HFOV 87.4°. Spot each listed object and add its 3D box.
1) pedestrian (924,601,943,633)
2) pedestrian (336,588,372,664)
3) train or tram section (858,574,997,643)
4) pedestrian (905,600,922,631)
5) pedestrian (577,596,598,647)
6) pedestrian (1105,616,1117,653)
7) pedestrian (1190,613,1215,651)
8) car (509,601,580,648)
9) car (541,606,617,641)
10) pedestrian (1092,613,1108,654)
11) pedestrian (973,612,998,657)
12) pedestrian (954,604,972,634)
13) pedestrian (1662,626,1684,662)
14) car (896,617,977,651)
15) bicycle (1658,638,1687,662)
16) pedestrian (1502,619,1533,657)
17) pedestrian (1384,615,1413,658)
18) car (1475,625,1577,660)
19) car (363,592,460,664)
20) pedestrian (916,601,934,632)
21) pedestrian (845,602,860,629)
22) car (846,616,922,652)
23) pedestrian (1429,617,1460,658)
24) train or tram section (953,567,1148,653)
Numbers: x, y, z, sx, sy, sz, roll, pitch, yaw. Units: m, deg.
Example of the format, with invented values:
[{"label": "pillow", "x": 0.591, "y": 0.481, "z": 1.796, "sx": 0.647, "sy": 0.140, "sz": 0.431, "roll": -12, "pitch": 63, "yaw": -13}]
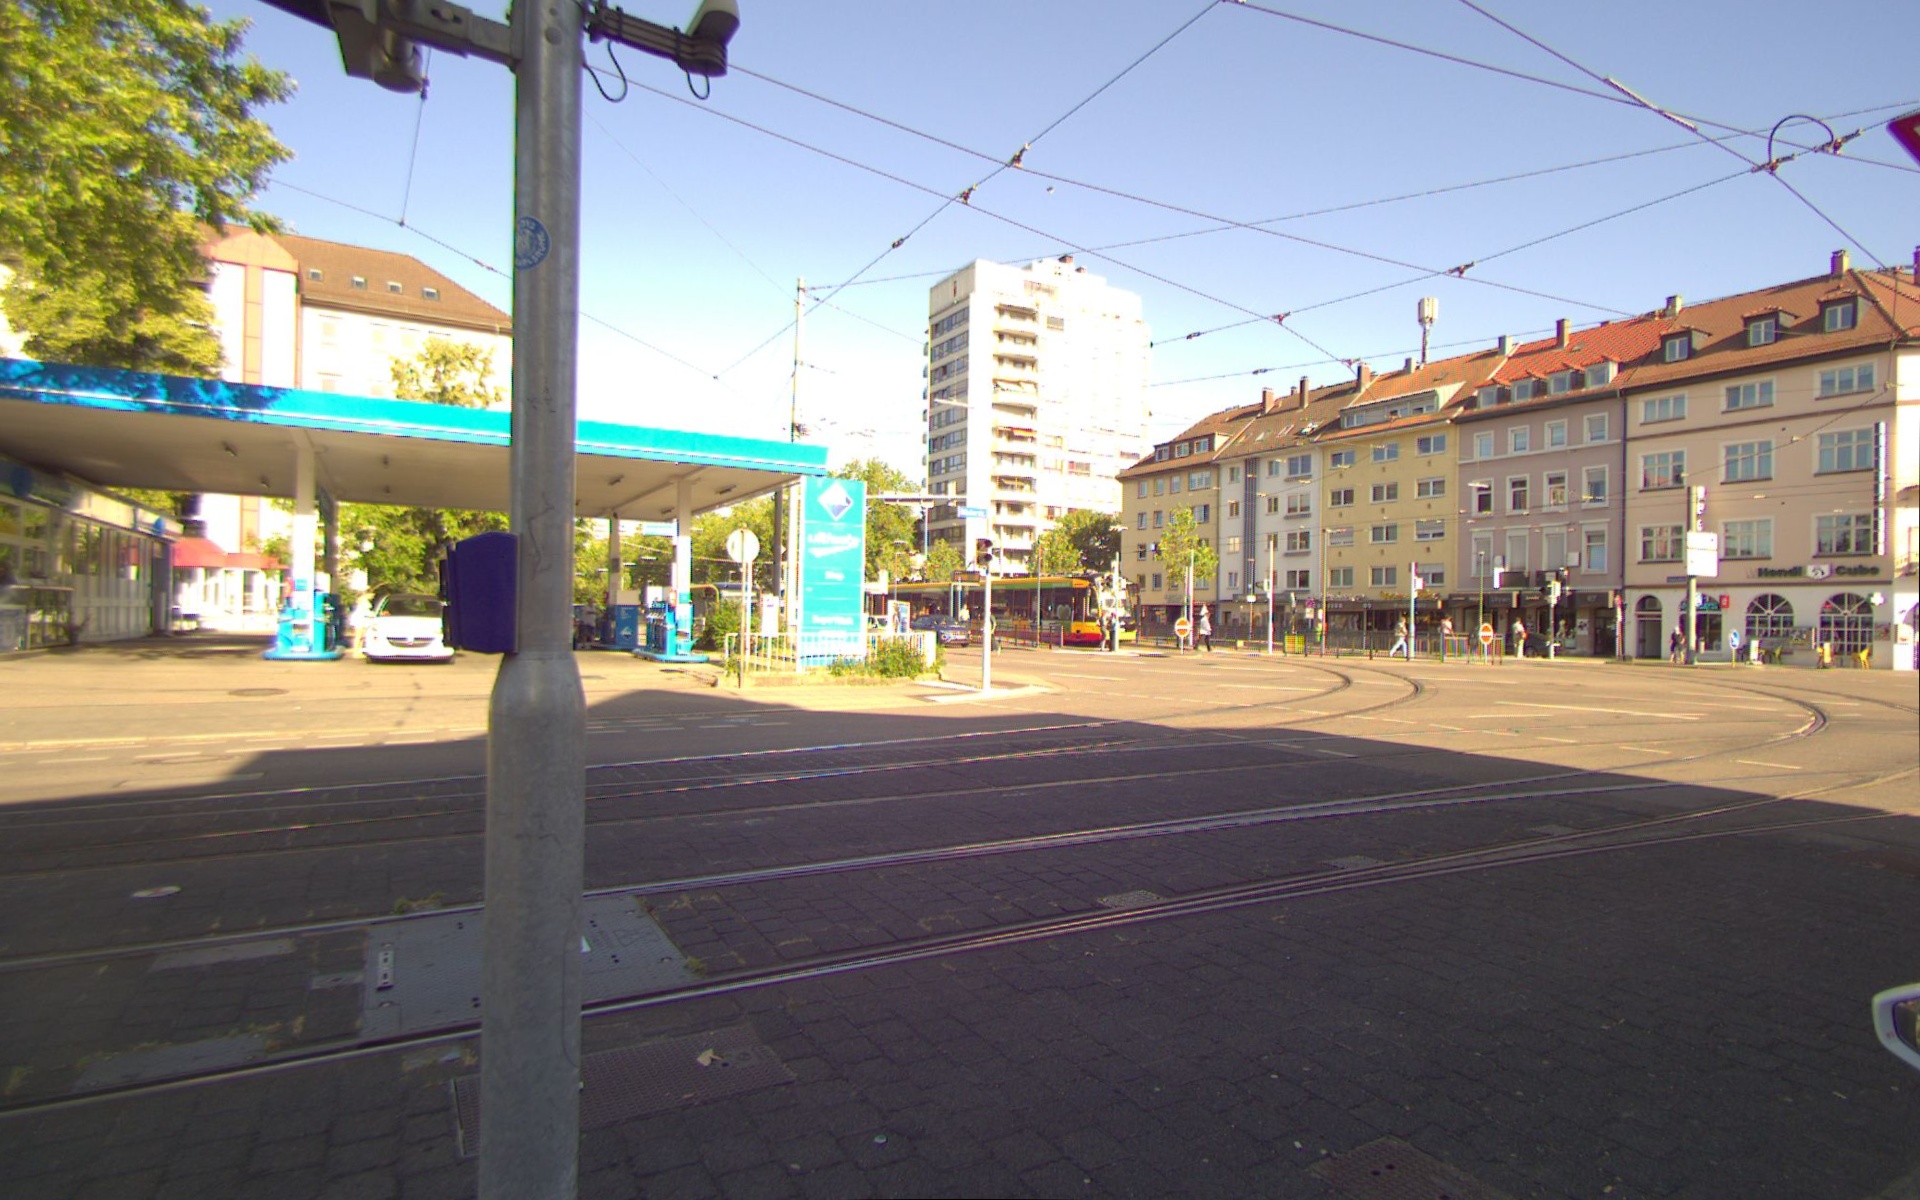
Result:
[{"label": "pedestrian", "x": -1.470, "y": 0.923, "z": 55.604, "sx": 0.747, "sy": 1.756, "sz": 0.797, "roll": 0, "pitch": 0, "yaw": -28}, {"label": "pedestrian", "x": -13.875, "y": 0.592, "z": 23.011, "sx": 0.640, "sy": 1.724, "sz": 0.497, "roll": 1, "pitch": -1, "yaw": -26}, {"label": "train or tram section", "x": -2.363, "y": 0.569, "z": 62.518, "sx": 2.908, "sy": 3.864, "sz": 12.715, "roll": 1, "pitch": -1, "yaw": -31}, {"label": "pedestrian", "x": -2.657, "y": 0.896, "z": 57.248, "sx": 0.747, "sy": 1.756, "sz": 0.797, "roll": 0, "pitch": 0, "yaw": -28}, {"label": "pedestrian", "x": -12.756, "y": 0.749, "z": 34.385, "sx": 0.493, "sy": 1.724, "sz": 0.497, "roll": 0, "pitch": -1, "yaw": 43}, {"label": "pedestrian", "x": 6.155, "y": 1.406, "z": 40.967, "sx": 0.472, "sy": 1.525, "sz": 0.462, "roll": 0, "pitch": 0, "yaw": 6}, {"label": "pedestrian", "x": 10.536, "y": 1.393, "z": 43.611, "sx": 0.867, "sy": 1.598, "sz": 0.665, "roll": 2, "pitch": 0, "yaw": -2}, {"label": "car", "x": -13.547, "y": 0.783, "z": 32.679, "sx": 1.737, "sy": 1.461, "sz": 3.543, "roll": 1, "pitch": -1, "yaw": -29}, {"label": "car", "x": -16.859, "y": 1.041, "z": 44.604, "sx": 1.722, "sy": 1.461, "sz": 3.572, "roll": 1, "pitch": -1, "yaw": 5}, {"label": "pedestrian", "x": 5.857, "y": 1.393, "z": 41.967, "sx": 0.626, "sy": 1.666, "sz": 0.462, "roll": 0, "pitch": 0, "yaw": 6}, {"label": "pedestrian", "x": 0.968, "y": 1.300, "z": 38.459, "sx": 0.752, "sy": 1.702, "sz": 0.555, "roll": 1, "pitch": -1, "yaw": -33}, {"label": "pedestrian", "x": 0.156, "y": 0.999, "z": 53.441, "sx": 0.607, "sy": 1.598, "sz": 0.827, "roll": 0, "pitch": 0, "yaw": -27}, {"label": "pedestrian", "x": 34.084, "y": 2.092, "z": 48.015, "sx": 0.743, "sy": 1.692, "sz": 0.579, "roll": 2, "pitch": 0, "yaw": -30}, {"label": "car", "x": -1.159, "y": 1.617, "z": 48.369, "sx": 1.875, "sy": 1.550, "sz": 3.955, "roll": 1, "pitch": -2, "yaw": -39}, {"label": "bicycle", "x": 34.048, "y": 2.387, "z": 48.002, "sx": 1.479, "sy": 1.091, "sz": 0.570, "roll": 2, "pitch": 0, "yaw": -30}, {"label": "pedestrian", "x": 24.436, "y": 1.670, "z": 44.038, "sx": 0.821, "sy": 1.598, "sz": 0.847, "roll": 2, "pitch": 0, "yaw": -20}, {"label": "pedestrian", "x": 16.874, "y": 1.392, "z": 38.632, "sx": 0.817, "sy": 1.598, "sz": 0.552, "roll": 2, "pitch": 0, "yaw": -2}, {"label": "car", "x": 30.827, "y": 2.293, "z": 54.845, "sx": 2.277, "sy": 1.734, "sz": 4.350, "roll": 2, "pitch": 0, "yaw": -27}, {"label": "car", "x": -12.197, "y": 0.603, "z": 22.352, "sx": 1.737, "sy": 1.461, "sz": 3.543, "roll": 1, "pitch": -1, "yaw": -29}, {"label": "pedestrian", "x": -2.022, "y": 0.916, "z": 57.473, "sx": 0.747, "sy": 1.756, "sz": 0.797, "roll": 0, "pitch": 0, "yaw": -28}, {"label": "pedestrian", "x": -6.973, "y": 1.024, "z": 65.363, "sx": 0.747, "sy": 1.756, "sz": 0.797, "roll": 0, "pitch": 0, "yaw": -28}, {"label": "car", "x": -3.586, "y": 1.553, "z": 46.739, "sx": 1.871, "sy": 1.550, "sz": 3.963, "roll": 1, "pitch": -1, "yaw": -33}, {"label": "pedestrian", "x": 19.315, "y": 1.480, "z": 40.053, "sx": 0.821, "sy": 1.598, "sz": 0.724, "roll": 2, "pitch": 0, "yaw": -20}, {"label": "train or tram section", "x": 4.173, "y": 0.523, "z": 51.425, "sx": 2.908, "sy": 3.864, "sz": 12.946, "roll": 1, "pitch": -1, "yaw": -30}]
